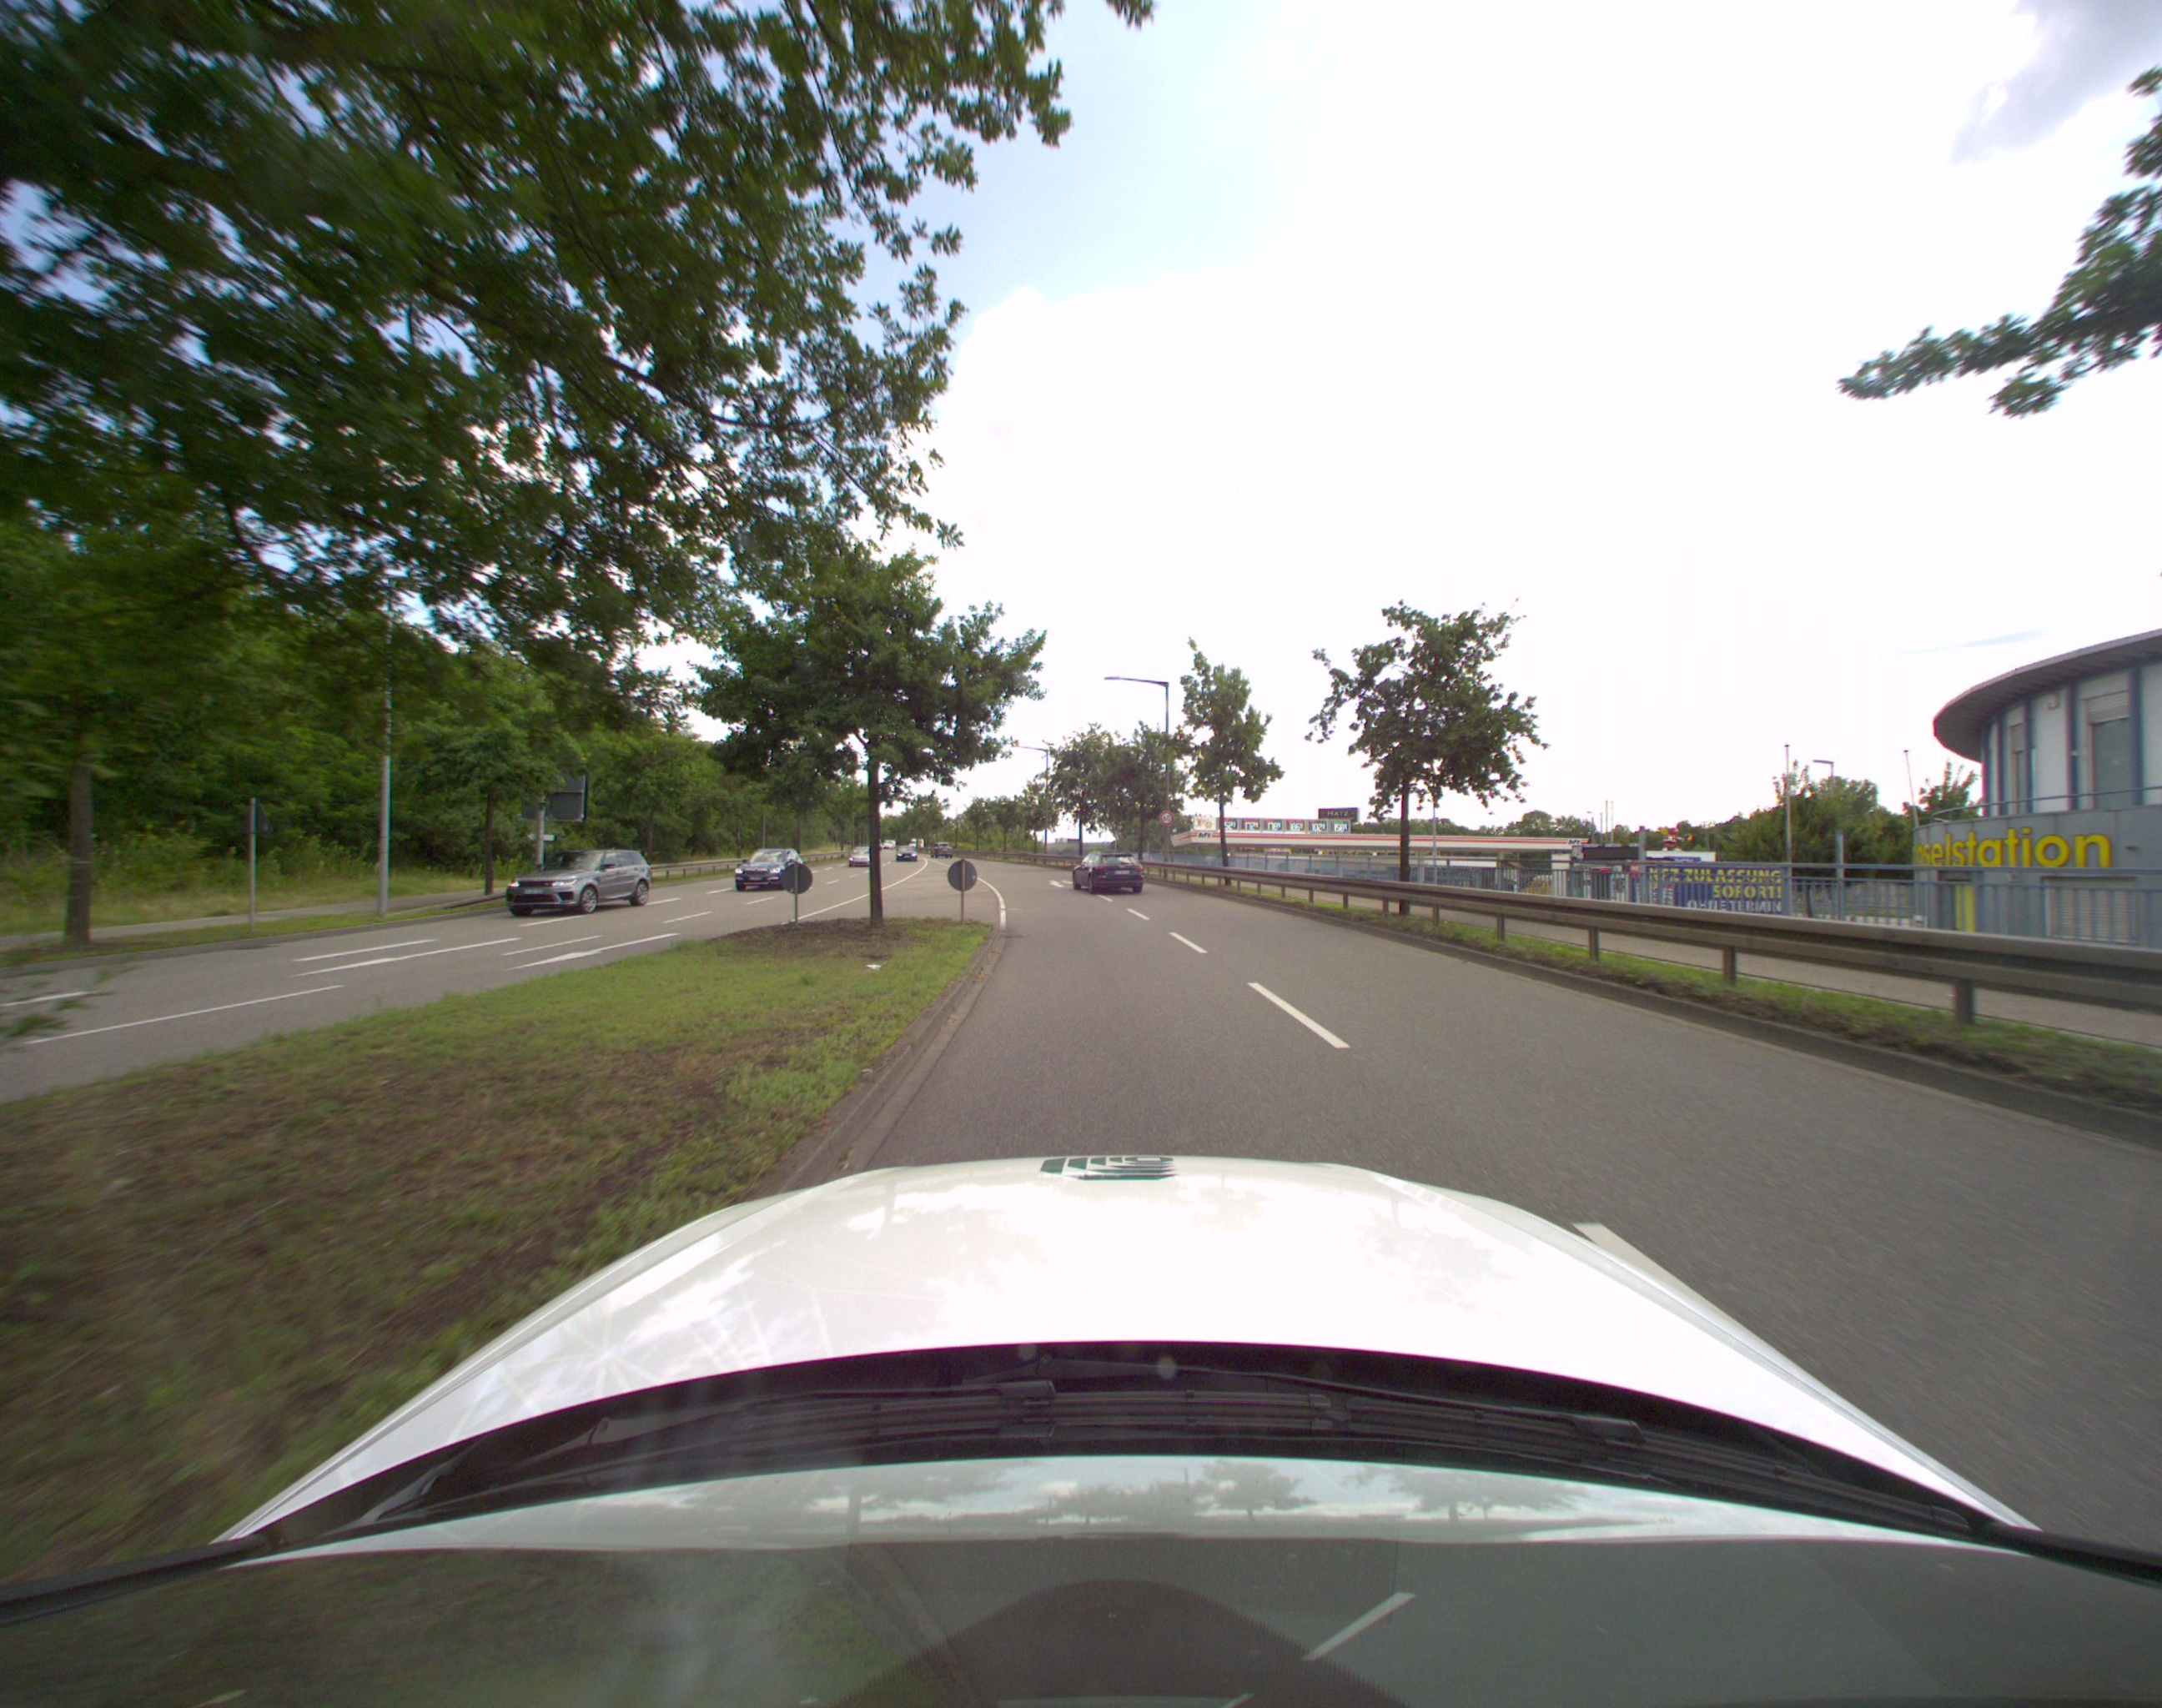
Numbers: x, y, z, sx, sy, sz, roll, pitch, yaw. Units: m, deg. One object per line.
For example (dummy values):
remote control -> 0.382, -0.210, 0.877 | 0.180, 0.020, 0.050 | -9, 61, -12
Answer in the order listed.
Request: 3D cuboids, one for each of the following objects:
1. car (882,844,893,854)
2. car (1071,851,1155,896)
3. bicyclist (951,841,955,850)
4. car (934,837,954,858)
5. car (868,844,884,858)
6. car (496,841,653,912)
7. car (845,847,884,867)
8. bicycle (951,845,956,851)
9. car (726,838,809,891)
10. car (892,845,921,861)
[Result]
car -> -39.581, -1.009, 166.664 | 1.998, 2.037, 4.684 | 1, -2, -17
car -> 1.031, 0.640, 28.758 | 1.994, 1.390, 4.559 | 2, 0, -10
bicyclist -> -17.471, -1.161, 111.304 | 0.474, 1.168, 0.823 | -1, -2, -15
car -> -14.709, -0.655, 87.489 | 1.994, 2.037, 4.694 | 1, -2, -11
car -> -31.525, -0.419, 125.160 | 1.994, 2.013, 4.543 | 1, 1, -10
car -> -14.526, 0.609, 23.747 | 1.991, 1.861, 4.704 | 0, -1, -6
car -> -15.923, 0.177, 60.162 | 1.991, 1.396, 4.691 | 0, 1, -6
bicycle -> -17.438, -0.819, 111.235 | 0.543, 0.866, 1.741 | 2, -1, -14
car -> -12.970, 0.381, 34.022 | 1.991, 2.013, 4.808 | 0, 1, -6
car -> -15.705, -0.125, 73.581 | 1.900, 1.363, 4.568 | -2, 0, -5
